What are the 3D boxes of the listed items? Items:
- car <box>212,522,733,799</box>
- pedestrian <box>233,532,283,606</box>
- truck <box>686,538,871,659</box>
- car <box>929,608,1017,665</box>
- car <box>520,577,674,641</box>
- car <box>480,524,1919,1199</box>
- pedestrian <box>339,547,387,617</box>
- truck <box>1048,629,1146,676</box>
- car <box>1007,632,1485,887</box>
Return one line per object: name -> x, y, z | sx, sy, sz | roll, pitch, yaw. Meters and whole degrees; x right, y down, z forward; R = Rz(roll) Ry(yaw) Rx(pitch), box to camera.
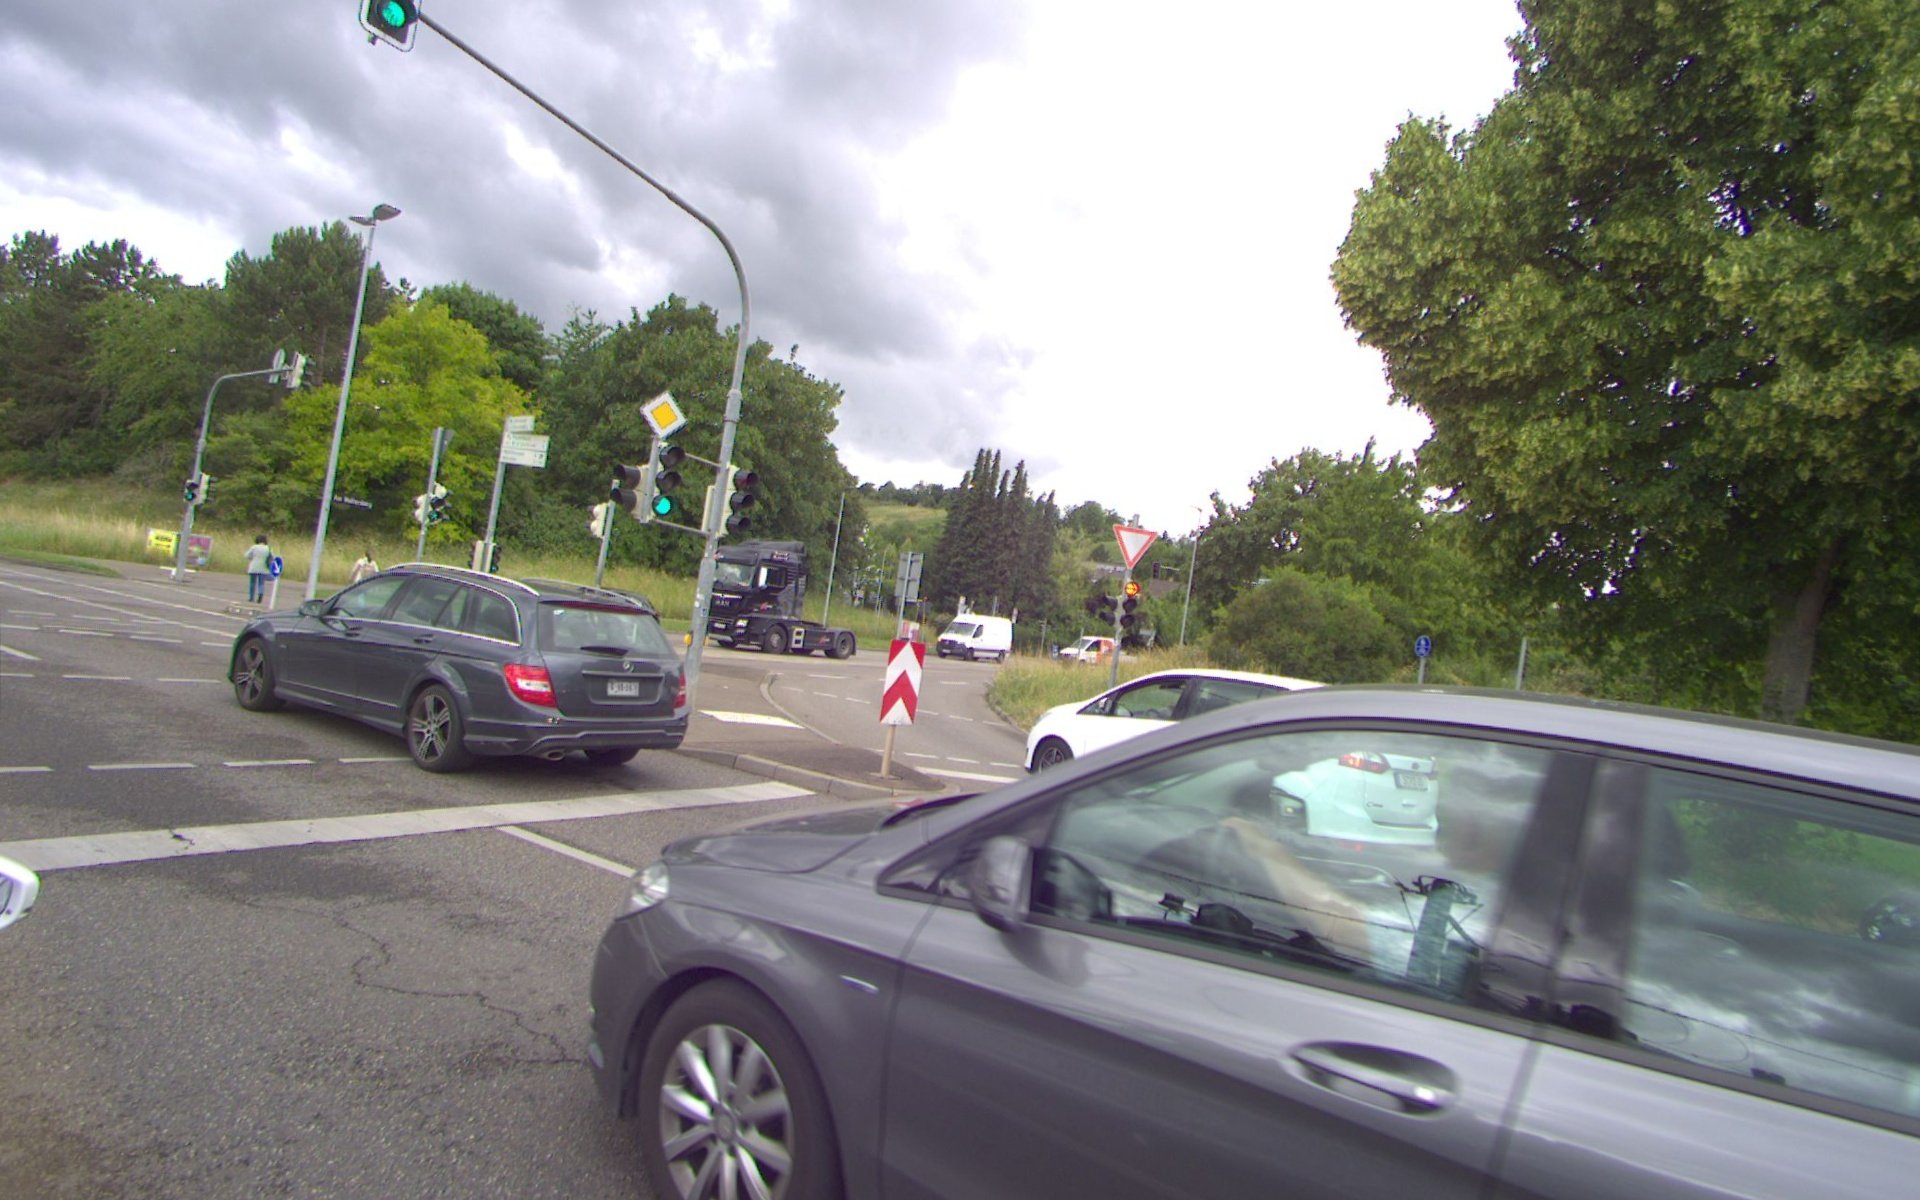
car -> -4.156, 0.391, 8.373 | 4.283, 1.502, 1.750 | 8, -1, 32
pedestrian -> -17.047, -0.754, 24.422 | 0.703, 1.681, 0.644 | 6, -1, 39
truck -> -6.228, 0.050, 35.409 | 2.648, 3.527, 6.004 | 6, -1, 34
car -> 0.847, 2.156, 57.731 | 1.968, 2.660, 5.814 | 6, -2, 34
car -> -10.470, 0.295, 29.239 | 1.669, 1.353, 3.882 | 6, -3, 34
car -> 0.914, 0.864, 2.337 | 3.982, 1.525, 1.749 | 8, -1, 34
pedestrian -> -14.863, -0.447, 25.061 | 0.703, 1.630, 0.644 | 6, -1, 37
truck -> 8.925, 3.401, 65.410 | 5.970, 2.256, 2.149 | 8, -2, -26
car -> 2.634, 1.450, 10.235 | 1.752, 1.673, 4.325 | 10, -3, -37
